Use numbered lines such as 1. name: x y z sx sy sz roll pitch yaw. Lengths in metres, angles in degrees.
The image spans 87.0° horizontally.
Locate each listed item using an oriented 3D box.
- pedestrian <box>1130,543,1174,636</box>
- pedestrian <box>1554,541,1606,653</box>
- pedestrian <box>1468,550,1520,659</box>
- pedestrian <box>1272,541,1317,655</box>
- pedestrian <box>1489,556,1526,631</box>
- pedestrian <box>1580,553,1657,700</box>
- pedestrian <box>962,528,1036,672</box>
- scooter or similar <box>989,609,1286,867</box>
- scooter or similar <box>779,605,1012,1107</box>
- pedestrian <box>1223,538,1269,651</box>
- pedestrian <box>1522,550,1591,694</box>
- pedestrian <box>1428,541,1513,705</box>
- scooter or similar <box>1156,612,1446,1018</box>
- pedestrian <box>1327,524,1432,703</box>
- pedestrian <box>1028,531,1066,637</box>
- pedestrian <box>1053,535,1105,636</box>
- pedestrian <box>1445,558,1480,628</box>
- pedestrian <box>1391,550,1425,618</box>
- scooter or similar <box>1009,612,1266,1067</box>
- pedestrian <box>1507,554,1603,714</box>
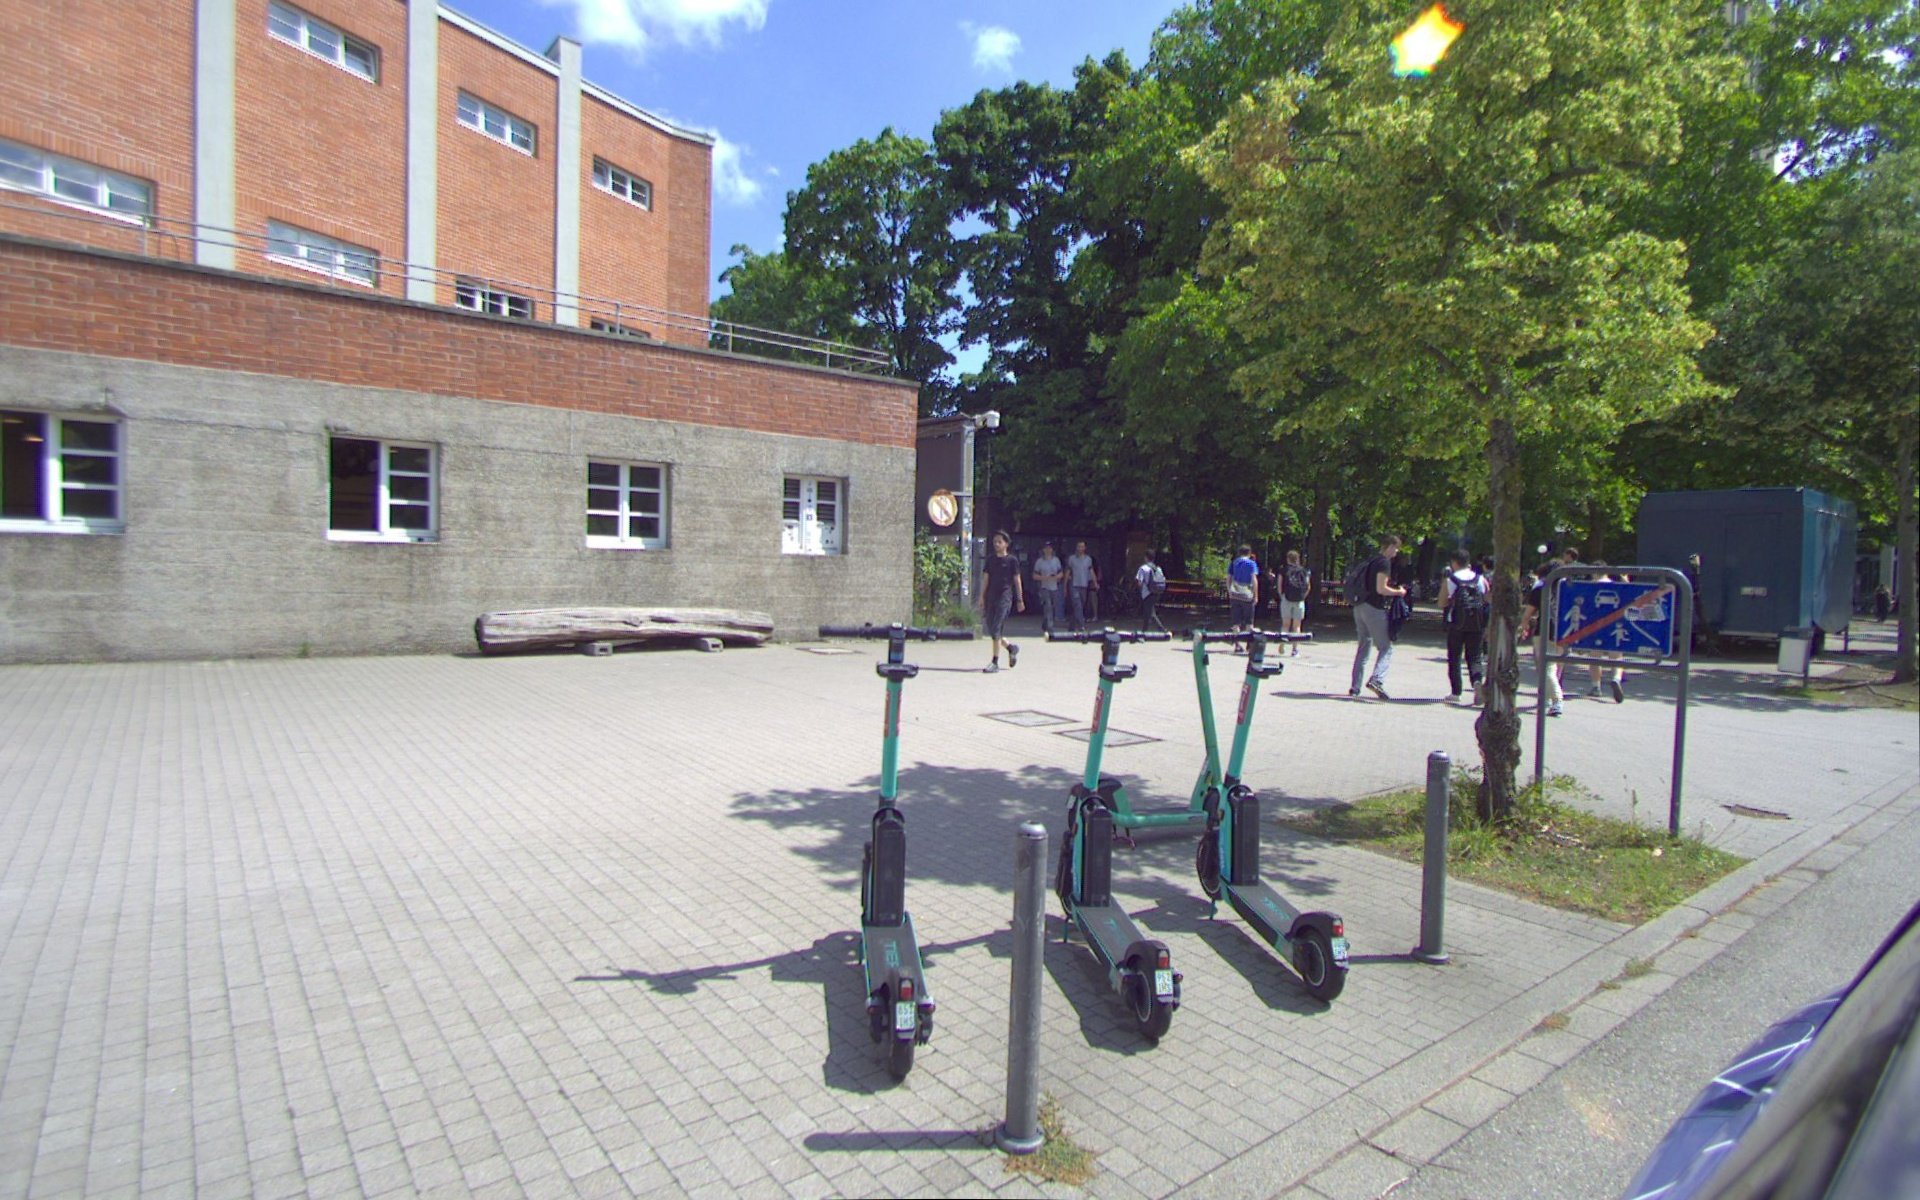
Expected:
1. pedestrian: 3.564 -0.180 18.840 0.554 1.677 0.780 2 -1 -8
2. pedestrian: 10.794 -0.061 17.640 0.632 1.893 0.533 2 2 24
3. pedestrian: 8.737 0.057 16.584 0.632 1.728 0.709 2 2 24
4. pedestrian: 5.466 -0.044 16.520 0.536 1.816 0.638 3 2 28
5. pedestrian: 12.455 -0.153 23.036 0.632 1.659 0.559 2 2 24
6. pedestrian: 8.281 0.309 12.757 0.615 1.760 0.769 2 2 23
7. pedestrian: 0.513 -0.023 13.077 0.583 1.799 0.788 3 3 37
8. scooter or similar: 0.946 0.671 5.363 1.447 1.194 0.577 1 2 -26
9. scooter or similar: -0.217 0.679 3.314 0.565 1.245 1.358 2 2 -4
10. pedestrian: 4.771 -0.099 16.847 0.560 1.816 0.638 3 2 27
11. pedestrian: 7.667 0.266 13.030 0.596 1.774 0.759 2 2 23
12. pedestrian: 5.921 0.239 11.782 0.773 1.813 0.709 2 2 24
13. scooter or similar: 1.232 0.713 3.918 0.565 1.248 1.266 2 2 -4
14. pedestrian: 4.871 0.128 11.835 0.970 1.970 0.973 2 2 18
15. pedestrian: 1.655 -0.293 19.363 0.554 1.954 0.890 2 -1 -4
16. pedestrian: 2.313 -0.271 19.696 0.655 1.911 0.975 2 -1 -14
17. pedestrian: 11.642 -0.172 23.452 0.632 1.576 0.570 2 2 24
18. pedestrian: 12.019 -0.431 27.154 0.665 1.788 0.788 2 0 35
19. scooter or similar: 0.543 0.710 3.511 0.565 1.259 1.145 2 2 -4
20. pedestrian: 6.685 0.352 11.414 0.742 1.693 0.840 2 2 22
